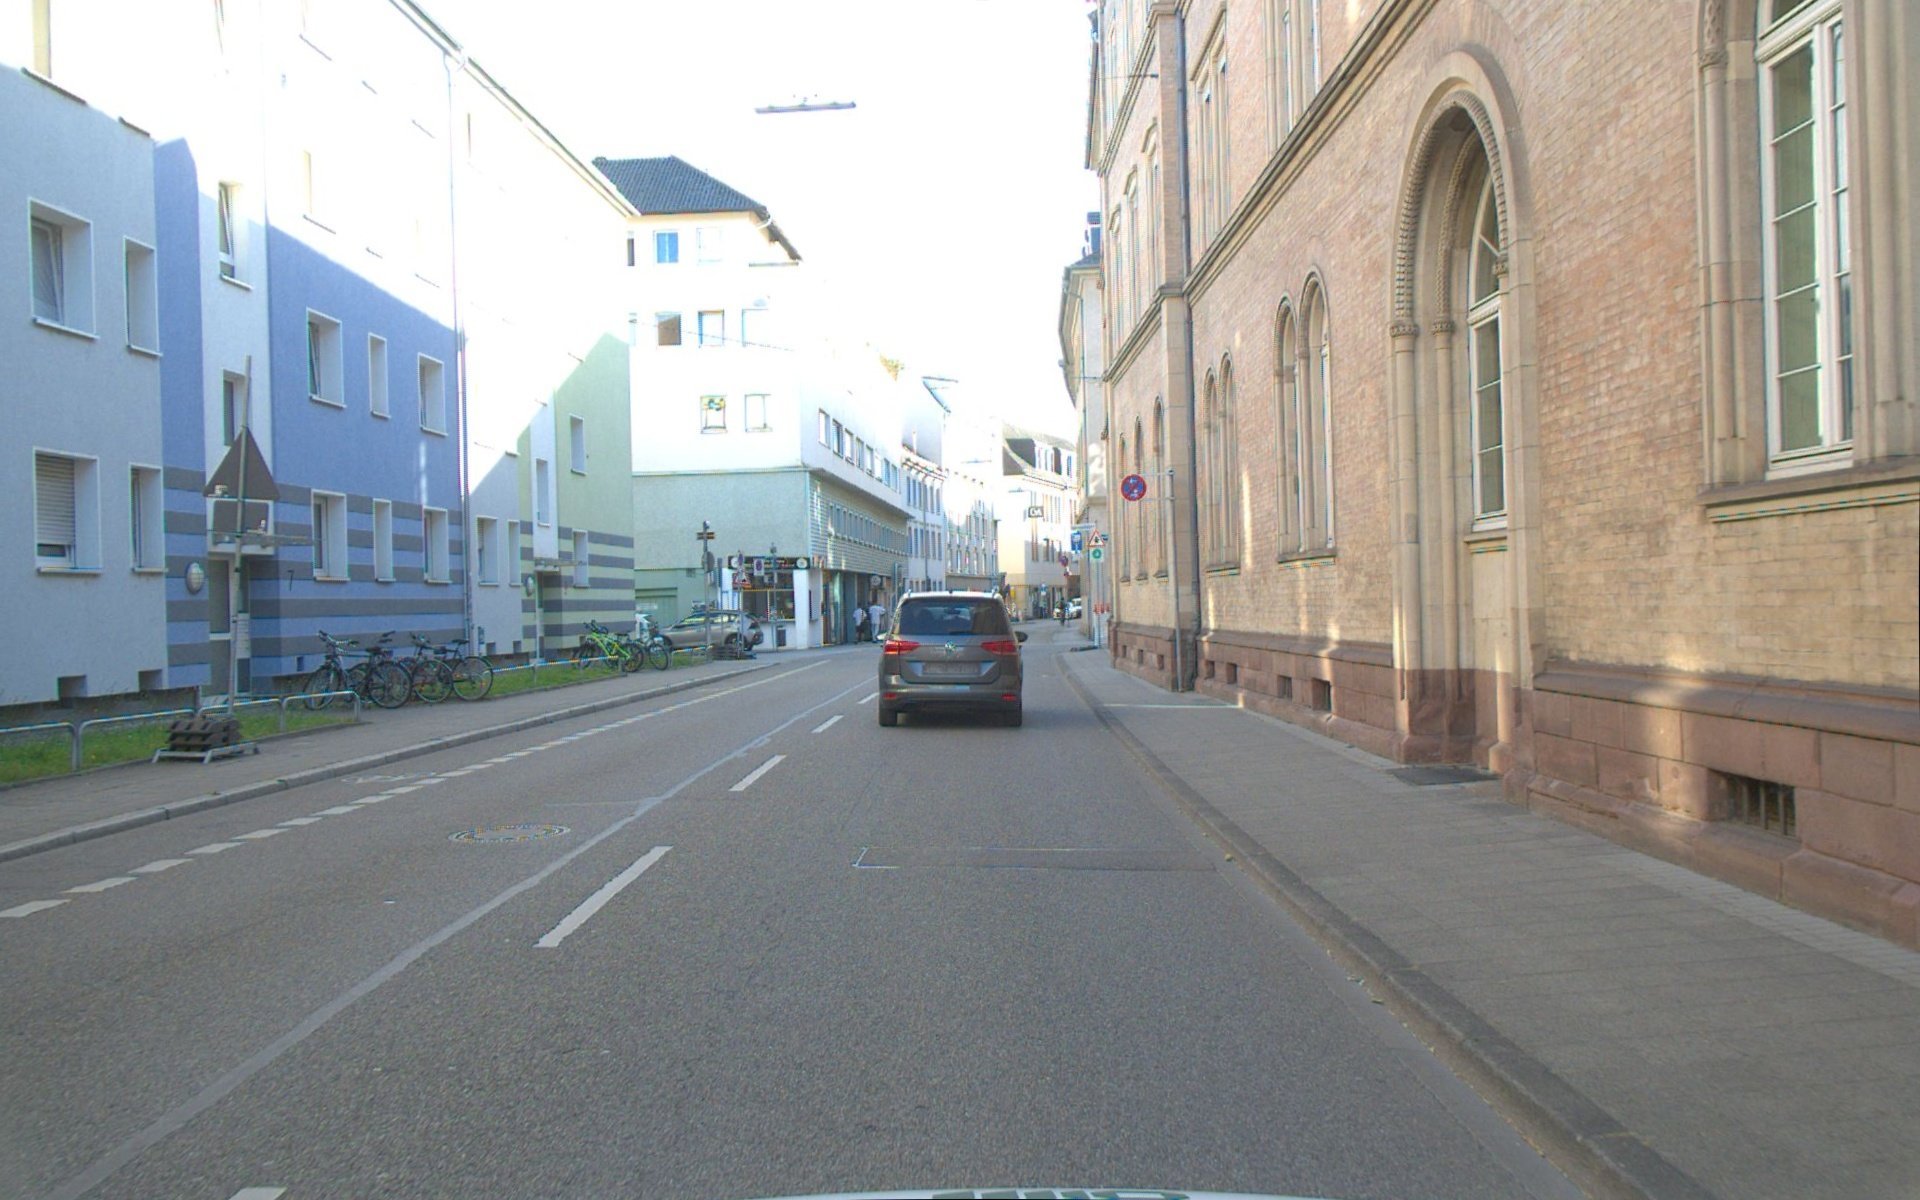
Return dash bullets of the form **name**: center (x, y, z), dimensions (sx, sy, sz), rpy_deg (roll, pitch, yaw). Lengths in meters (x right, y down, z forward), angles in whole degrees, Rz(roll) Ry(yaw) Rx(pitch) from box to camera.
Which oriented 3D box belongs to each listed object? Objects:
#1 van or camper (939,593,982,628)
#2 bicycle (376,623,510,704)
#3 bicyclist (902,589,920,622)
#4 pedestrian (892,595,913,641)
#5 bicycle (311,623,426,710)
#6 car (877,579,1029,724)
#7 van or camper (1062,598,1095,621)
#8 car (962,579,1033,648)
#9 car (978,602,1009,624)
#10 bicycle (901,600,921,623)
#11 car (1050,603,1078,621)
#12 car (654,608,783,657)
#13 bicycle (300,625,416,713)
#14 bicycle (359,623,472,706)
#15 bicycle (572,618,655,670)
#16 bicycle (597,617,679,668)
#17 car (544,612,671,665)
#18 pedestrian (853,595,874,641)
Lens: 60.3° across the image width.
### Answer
- **van or camper**: center (0.060, 0.632, 100.297), dimensions (1.951, 2.049, 4.486), rpy_deg (-1, 0, 8)
- **bicycle**: center (-8.428, 1.033, 27.023), dimensions (1.967, 1.253, 0.623), rpy_deg (-1, 0, -1)
- **bicyclist**: center (-2.366, 0.254, 80.165), dimensions (0.813, 1.589, 0.760), rpy_deg (-1, 0, 2)
- **pedestrian**: center (-2.359, 0.725, 68.096), dimensions (0.544, 1.861, 0.730), rpy_deg (-2, 0, 25)
- **bicycle**: center (-8.960, 1.002, 25.059), dimensions (1.552, 1.263, 0.449), rpy_deg (-1, 0, -1)
- **car**: center (-0.053, 0.605, 21.084), dimensions (1.726, 1.635, 4.000), rpy_deg (1, 0, 1)
- **van or camper**: center (10.927, 0.855, 152.149), dimensions (1.951, 2.049, 5.001), rpy_deg (-1, 0, 18)
- **car**: center (1.064, 0.377, 48.424), dimensions (1.952, 1.914, 4.000), rpy_deg (-1, 0, 0)
- **car**: center (2.389, 0.895, 116.414), dimensions (1.826, 1.494, 3.836), rpy_deg (-1, 0, 7)
- **bicycle**: center (-2.365, 0.534, 80.074), dimensions (0.813, 1.073, 2.550), rpy_deg (-1, 0, 2)
- **car**: center (9.231, 1.035, 146.466), dimensions (1.697, 1.493, 4.003), rpy_deg (-1, 0, 16)
- **car**: center (-8.244, 1.102, 56.741), dimensions (4.012, 1.468, 1.948), rpy_deg (-2, 0, 3)
- **bicycle**: center (-8.960, 1.019, 24.641), dimensions (1.547, 1.263, 0.384), rpy_deg (-1, 0, -1)
- **bicycle**: center (-8.657, 1.018, 26.308), dimensions (1.605, 1.263, 0.467), rpy_deg (-1, 0, -1)
- **bicycle**: center (-8.234, 1.040, 39.276), dimensions (1.896, 1.200, 0.611), rpy_deg (1, -1, -14)
- **bicycle**: center (-7.920, 1.037, 40.737), dimensions (1.892, 1.200, 0.612), rpy_deg (1, -1, -7)
- **car**: center (-10.827, 1.173, 50.948), dimensions (3.427, 1.468, 1.814), rpy_deg (-2, 0, 3)
- **pedestrian**: center (-3.974, 0.746, 68.276), dimensions (0.544, 1.861, 0.730), rpy_deg (-2, 0, 25)
